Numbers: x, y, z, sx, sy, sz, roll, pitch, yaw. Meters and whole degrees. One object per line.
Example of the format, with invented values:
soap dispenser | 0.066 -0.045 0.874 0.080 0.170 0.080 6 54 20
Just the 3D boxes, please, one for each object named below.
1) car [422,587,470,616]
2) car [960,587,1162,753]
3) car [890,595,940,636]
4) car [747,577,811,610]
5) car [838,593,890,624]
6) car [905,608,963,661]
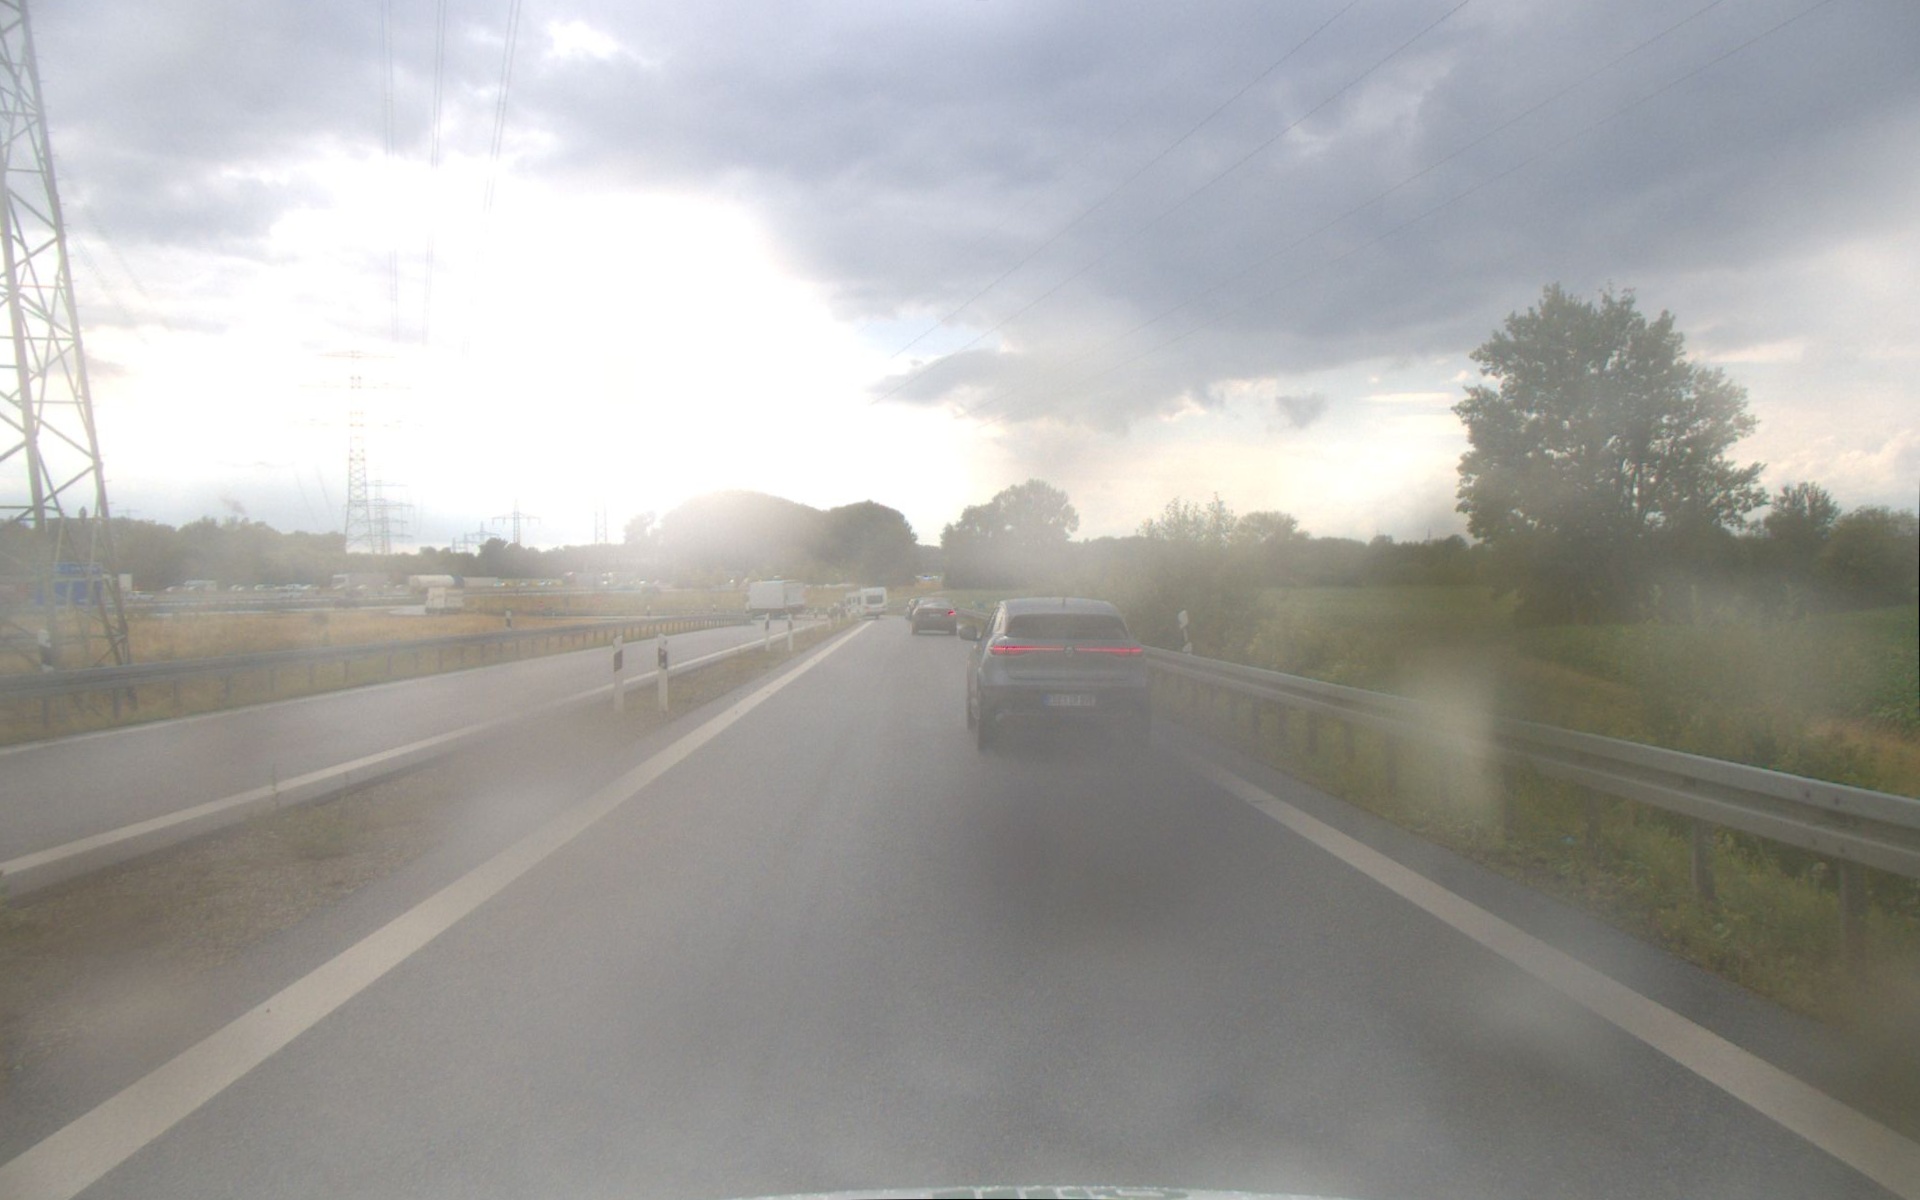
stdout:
car | -66.862 0.245 214.958 3.356 3.673 8.932 -1 0 -35
car | 1.010 0.676 18.223 1.952 1.594 4.149 1 0 0
car | -2.928 0.950 106.512 2.311 2.347 5.112 -1 2 -13
car | -18.052 -0.649 164.716 3.115 3.002 7.111 -2 3 -38
car | -8.317 0.701 142.871 2.330 2.347 5.070 -2 3 -33
car | -1.150 1.417 69.687 2.079 2.053 5.529 -1 1 -5
